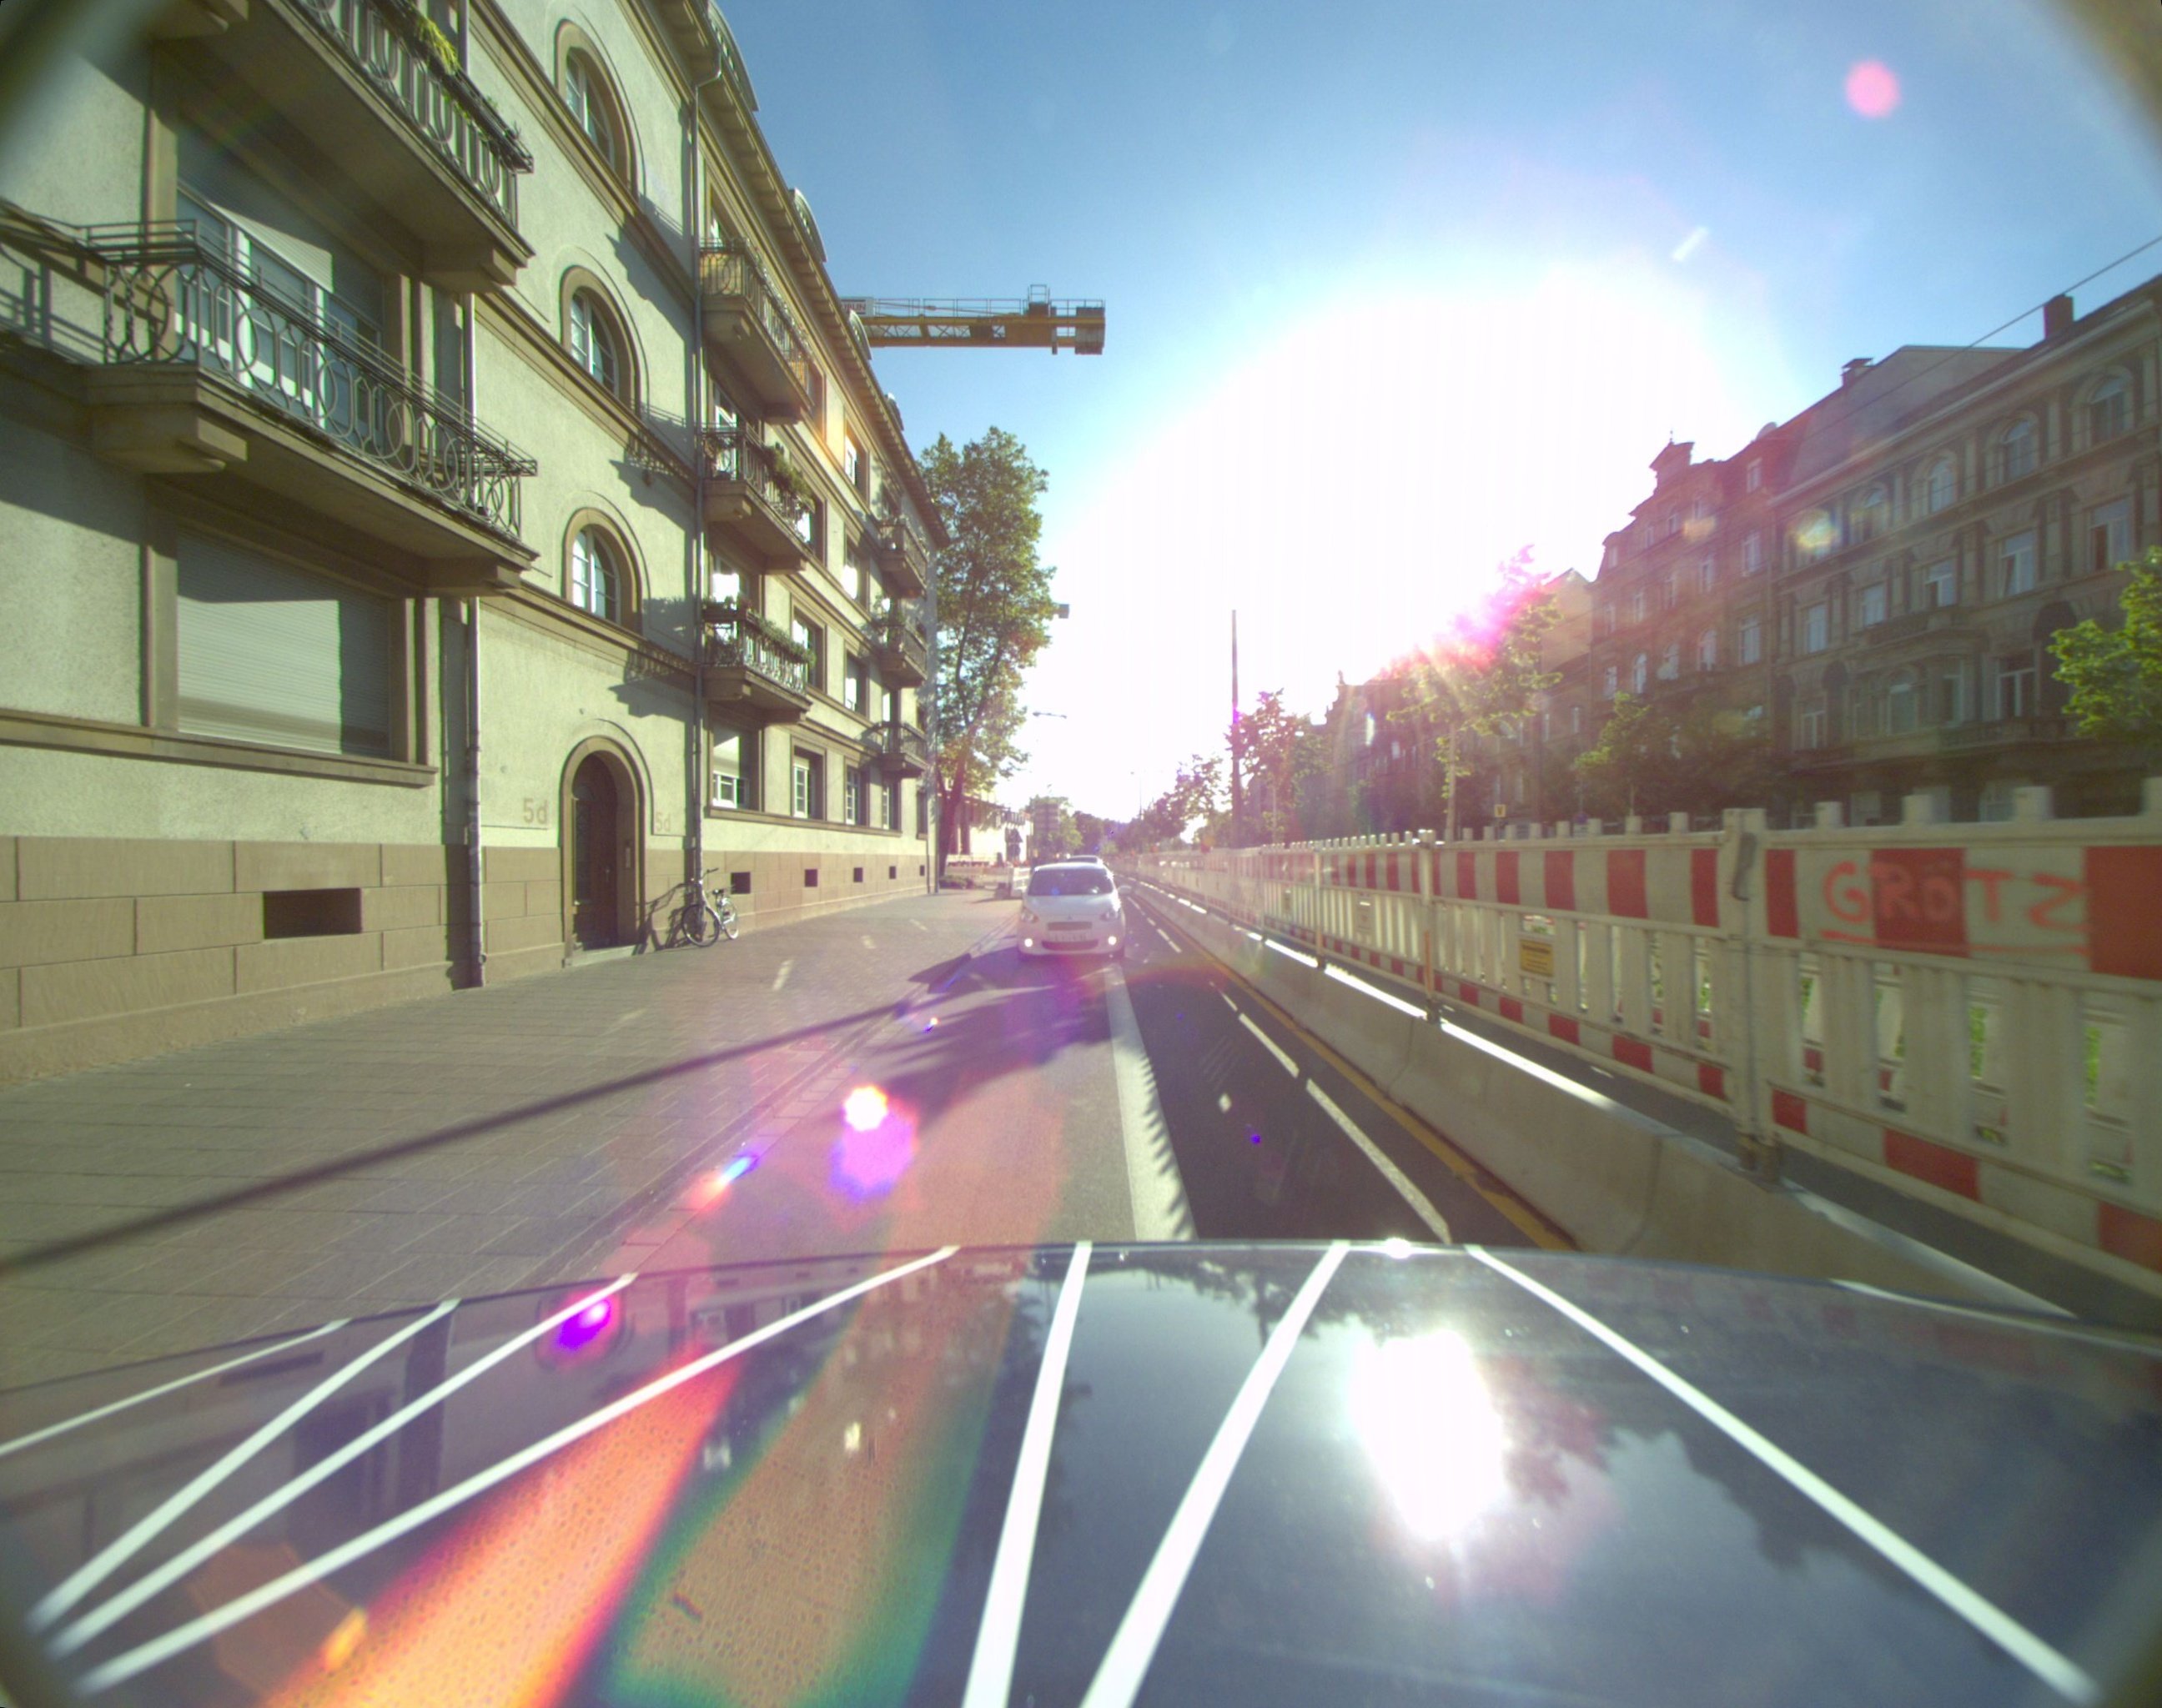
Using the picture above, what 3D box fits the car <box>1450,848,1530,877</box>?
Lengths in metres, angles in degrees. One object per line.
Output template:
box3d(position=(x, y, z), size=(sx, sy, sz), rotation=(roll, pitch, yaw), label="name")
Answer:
box3d(position=(22.213, 0.439, 41.487), size=(1.998, 1.429, 4.308), rotation=(-3, 0, 0), label="car")

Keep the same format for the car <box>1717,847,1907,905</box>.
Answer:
box3d(position=(23.659, 0.652, 24.891), size=(1.943, 1.648, 4.545), rotation=(-3, 0, 3), label="car")

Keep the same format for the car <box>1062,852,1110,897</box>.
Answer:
box3d(position=(0.218, 0.846, 33.169), size=(1.899, 1.730, 4.000), rotation=(-3, 1, 1), label="car")

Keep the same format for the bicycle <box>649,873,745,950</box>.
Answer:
box3d(position=(-6.291, 0.899, 12.575), size=(0.419, 1.089, 2.198), rotation=(0, 0, 1), label="bicycle")

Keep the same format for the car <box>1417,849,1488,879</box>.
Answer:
box3d(position=(23.123, 0.581, 47.472), size=(1.998, 1.688, 4.888), rotation=(-3, 0, 0), label="car")

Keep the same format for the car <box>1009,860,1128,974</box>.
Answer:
box3d(position=(-0.131, 0.922, 13.028), size=(1.634, 1.499, 4.350), rotation=(-3, 0, 1), label="car")

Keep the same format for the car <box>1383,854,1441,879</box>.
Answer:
box3d(position=(23.327, 0.852, 53.749), size=(1.998, 1.529, 4.984), rotation=(-3, 0, 1), label="car")
